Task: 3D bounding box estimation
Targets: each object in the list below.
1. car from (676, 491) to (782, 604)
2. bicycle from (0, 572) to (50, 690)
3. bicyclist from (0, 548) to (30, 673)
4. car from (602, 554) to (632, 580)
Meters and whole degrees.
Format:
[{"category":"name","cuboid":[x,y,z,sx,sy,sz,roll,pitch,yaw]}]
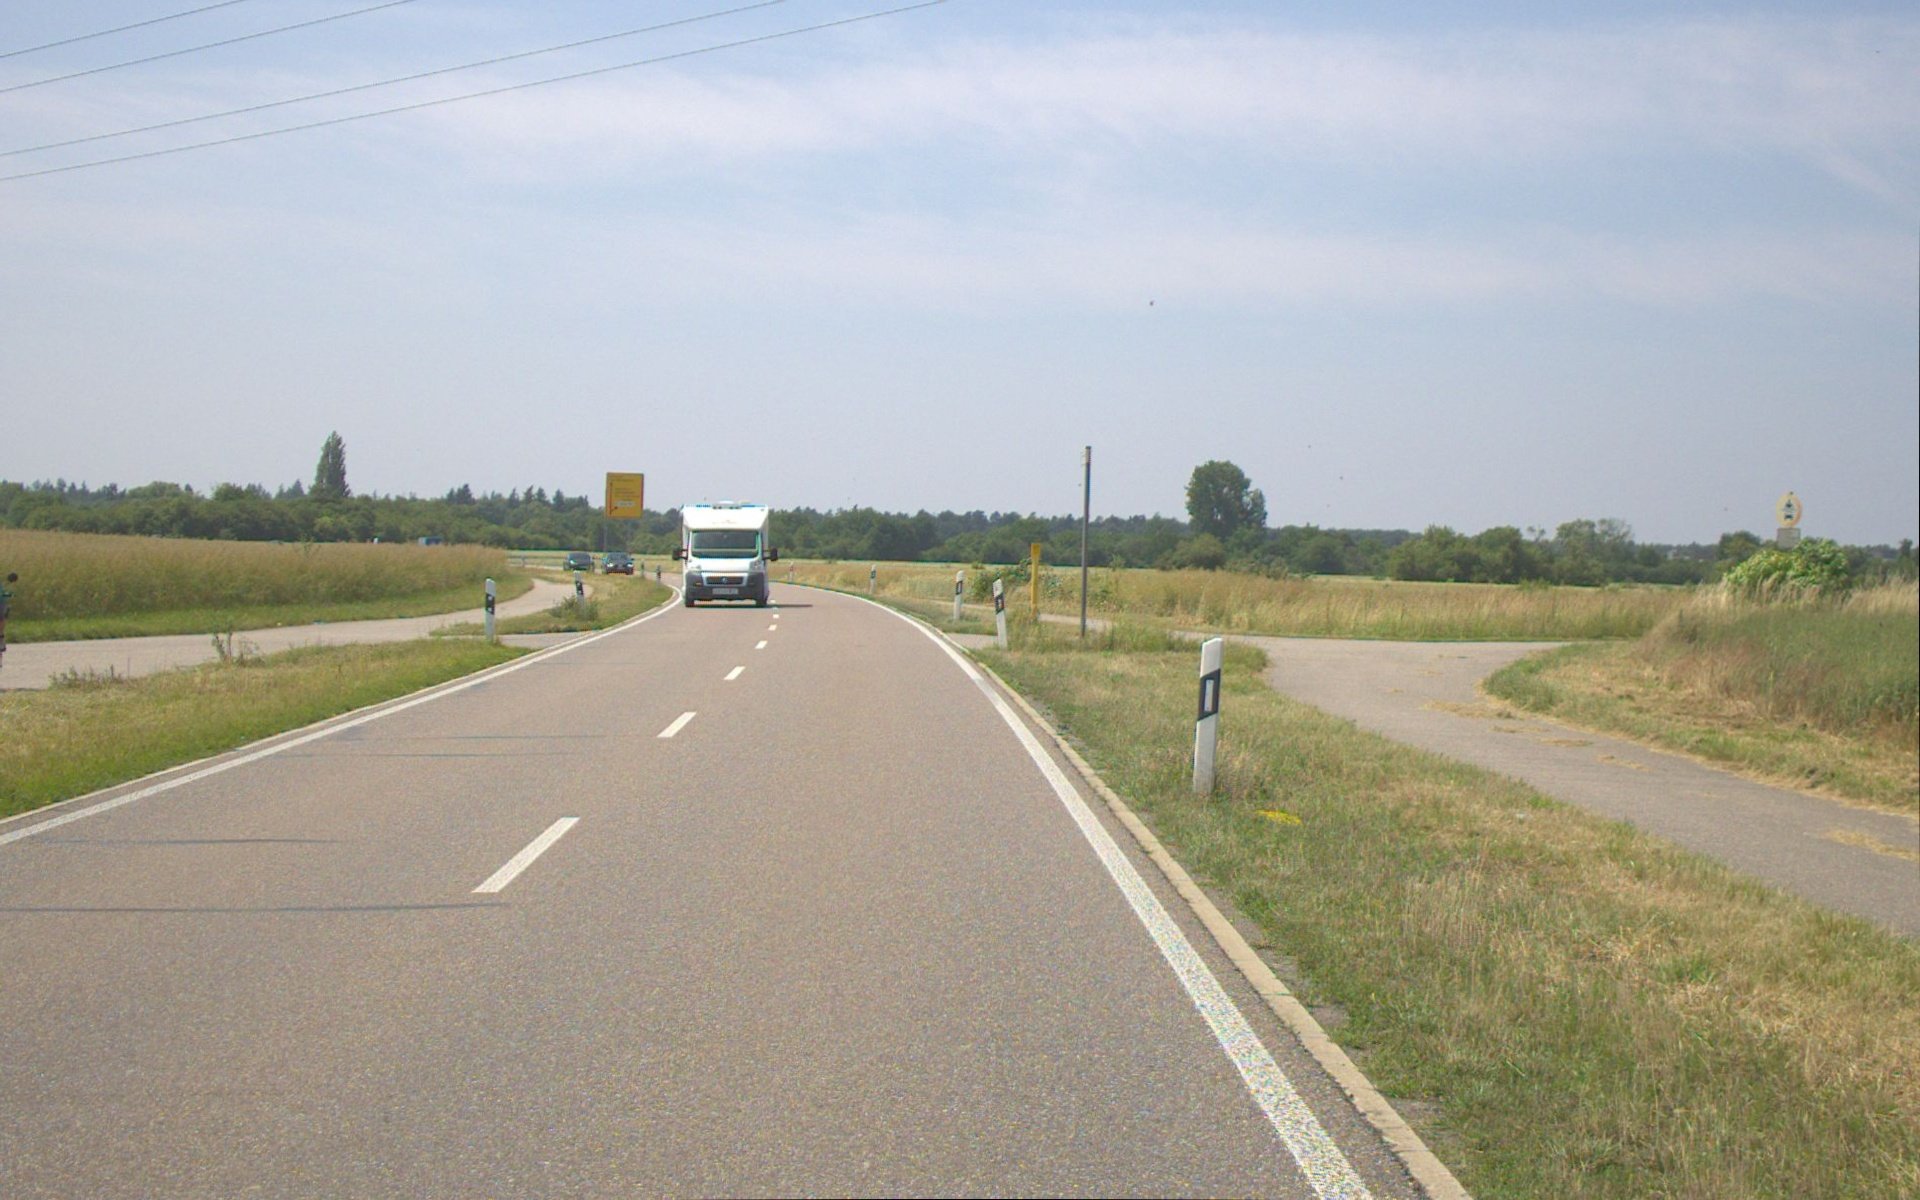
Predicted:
[{"category":"car","cuboid":[-6.098,-1.415,91.636,2.397,2.837,7.629,1,1,-1]},{"category":"bicycle","cuboid":[-10.527,0.319,37.248,0.762,1.224,2.216,1,1,-1]},{"category":"bicyclist","cuboid":[-10.522,0.104,37.125,0.701,1.326,0.965,1,1,-1]},{"category":"car","cuboid":[-21.719,-2.093,217.752,1.712,1.581,3.502,0,0,-3]}]
